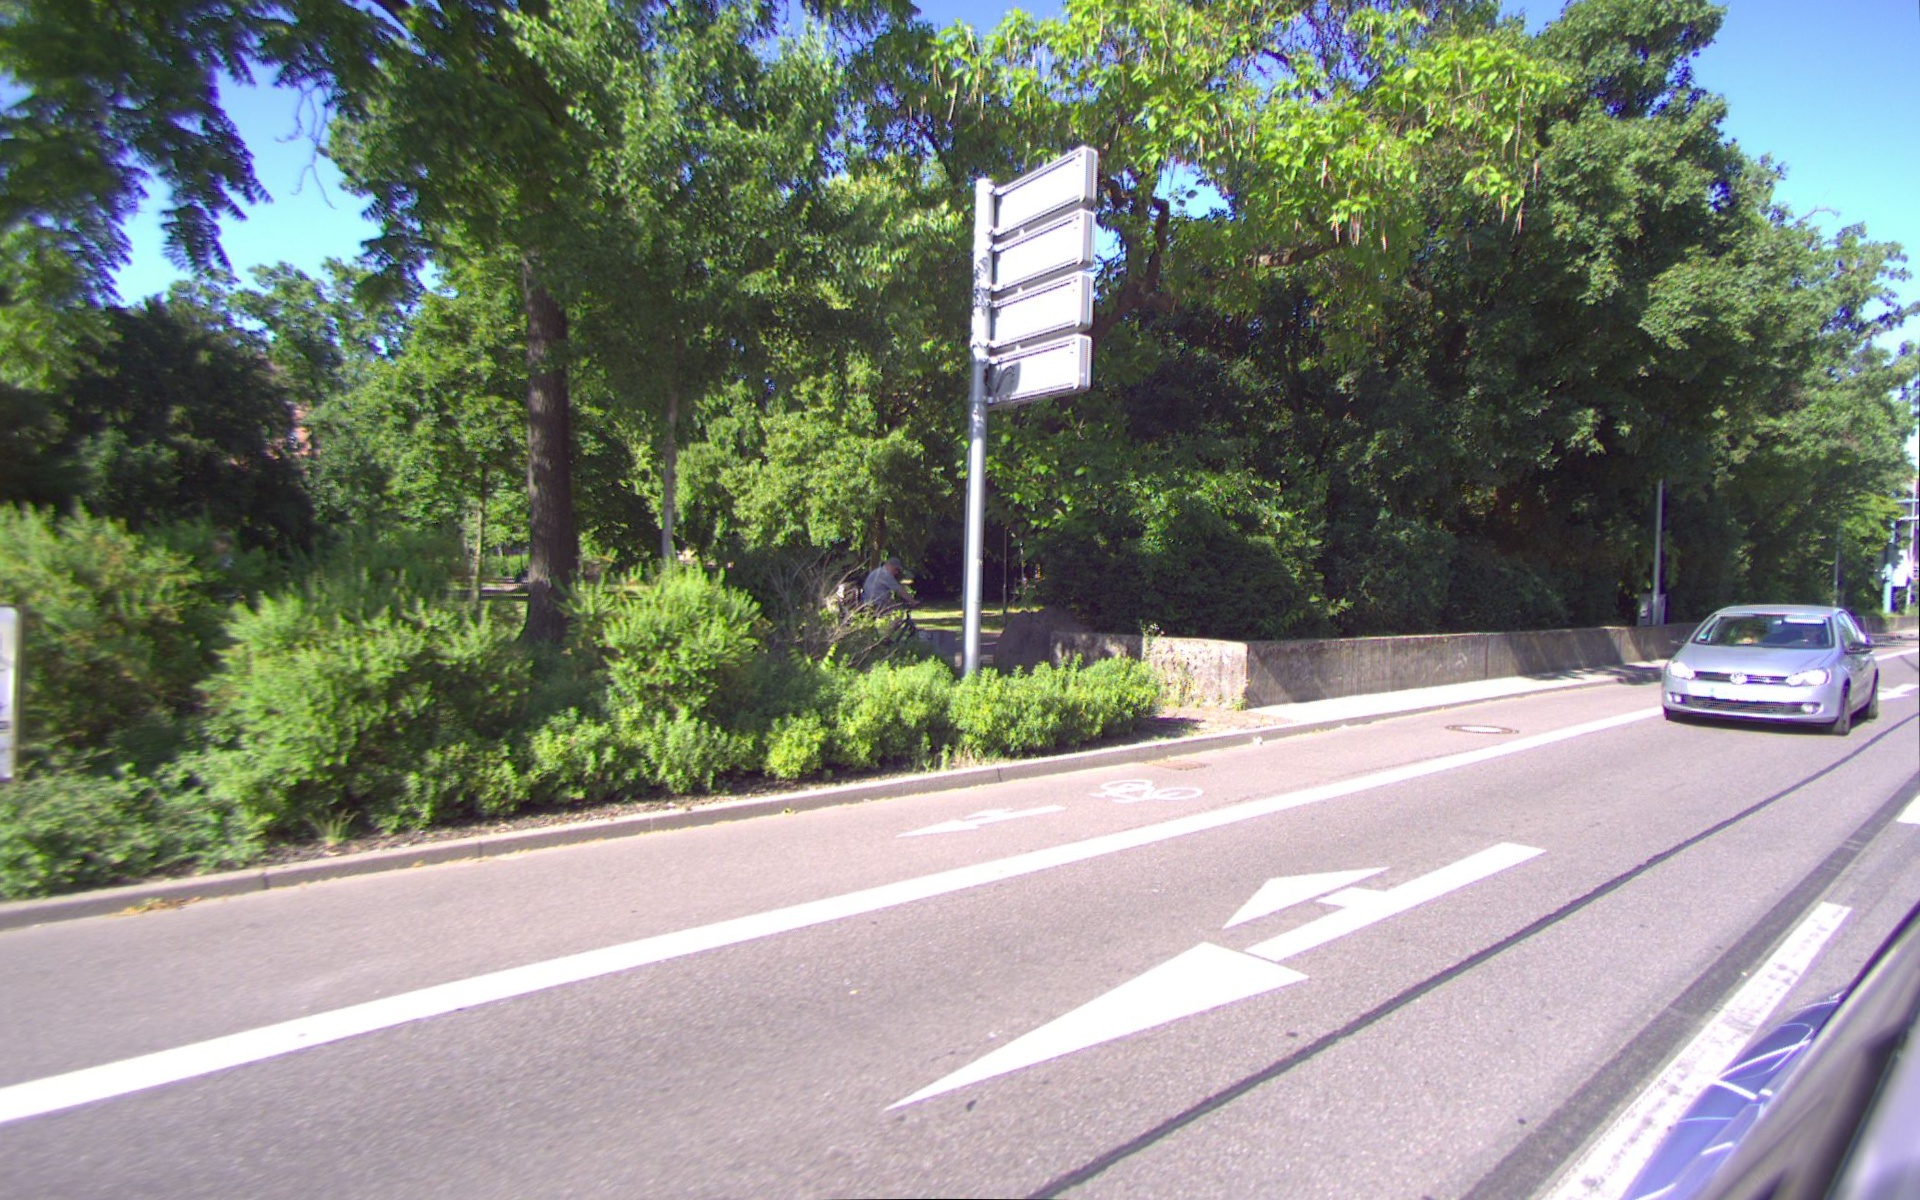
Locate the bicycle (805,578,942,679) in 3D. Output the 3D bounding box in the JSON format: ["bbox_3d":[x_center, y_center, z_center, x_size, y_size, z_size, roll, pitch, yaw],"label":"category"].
[{"bbox_3d":[-1.172,0.362,13.994,1.876,1.307,0.623,0,1,-41],"label":"bicycle"}]

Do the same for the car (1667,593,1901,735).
[{"bbox_3d":[10.525,0.678,12.831,3.931,1.492,1.701,0,1,-42],"label":"car"}]

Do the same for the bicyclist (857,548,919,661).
[{"bbox_3d":[-1.010,0.055,14.146,0.561,1.526,0.688,0,1,-41],"label":"bicyclist"}]

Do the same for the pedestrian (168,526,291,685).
[{"bbox_3d":[-8.241,0.048,11.445,0.729,1.724,0.869,1,1,20],"label":"pedestrian"}]
